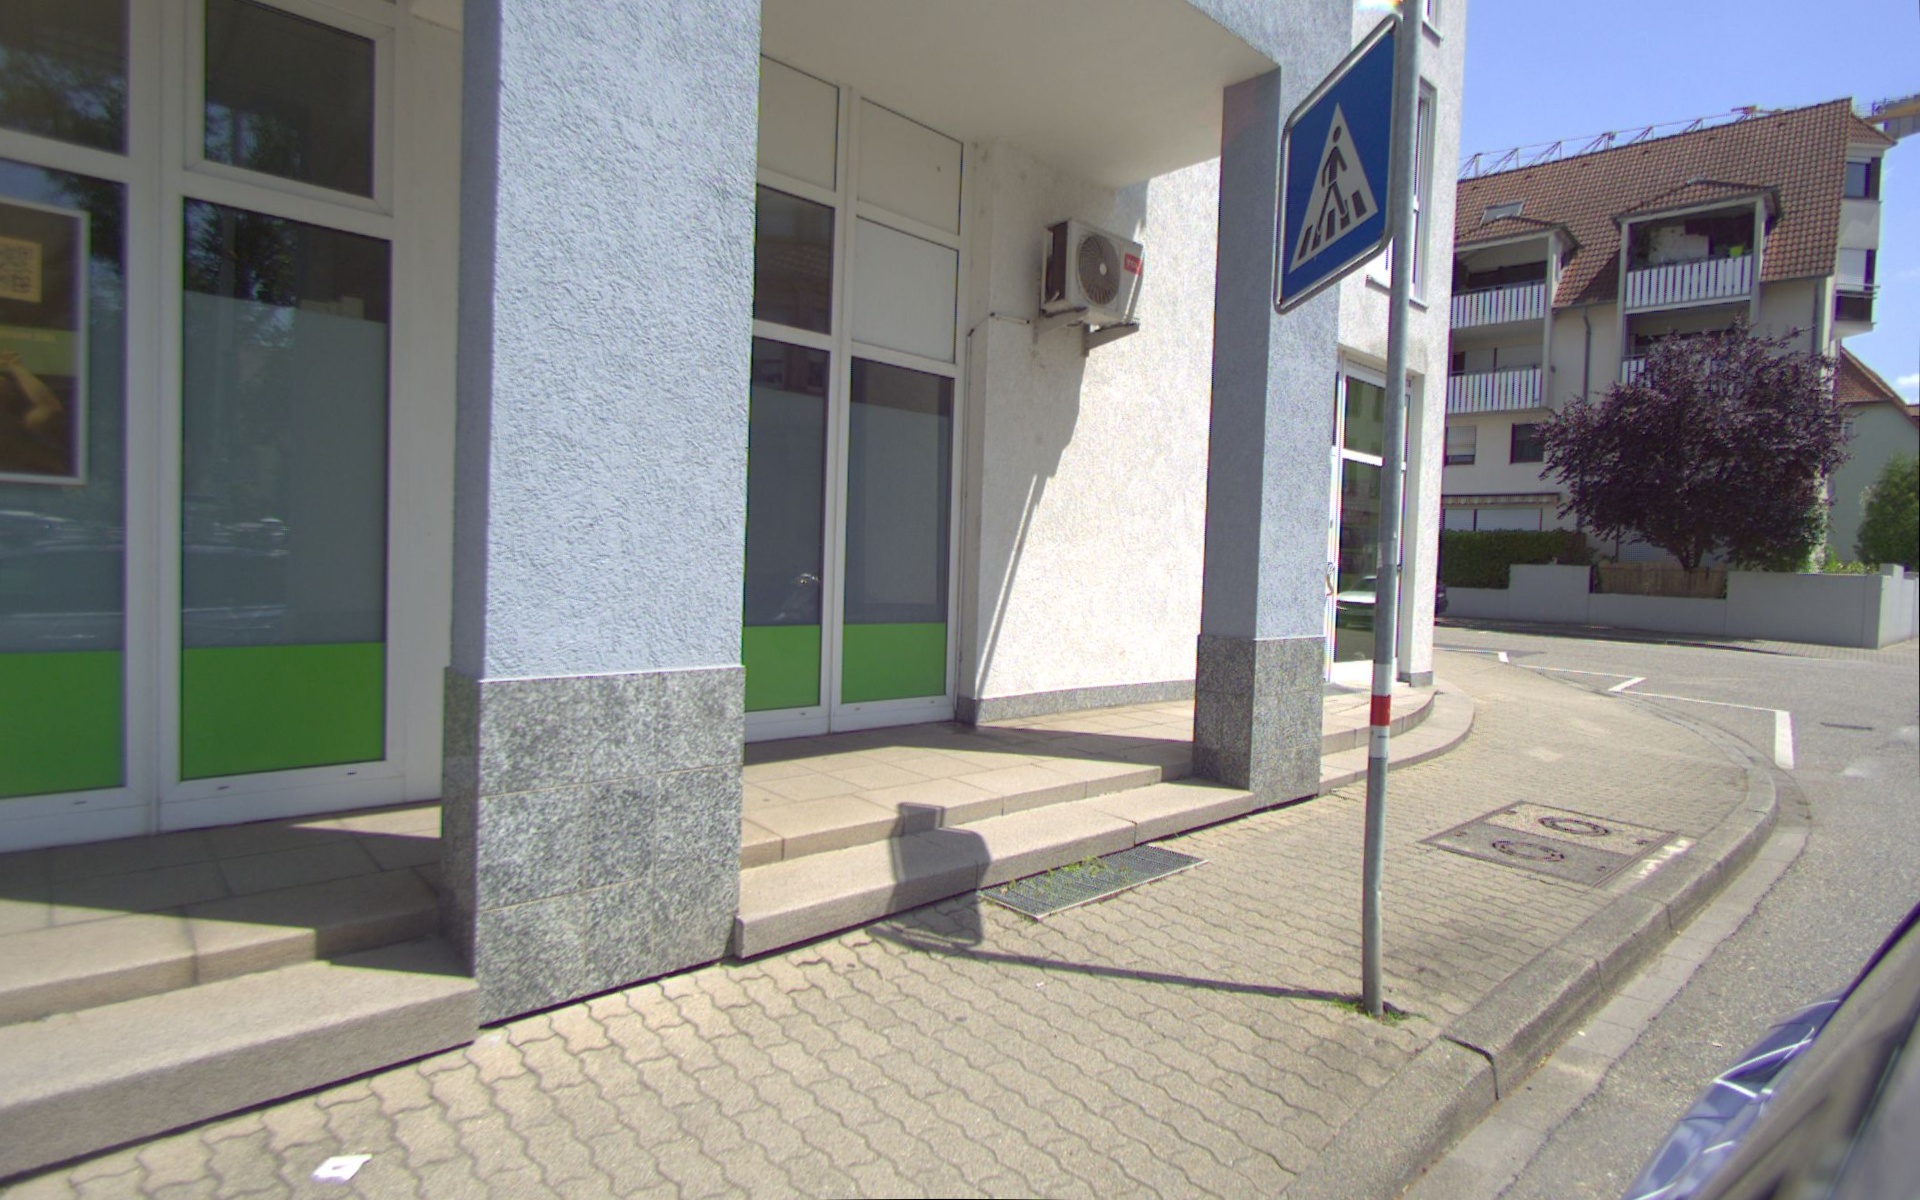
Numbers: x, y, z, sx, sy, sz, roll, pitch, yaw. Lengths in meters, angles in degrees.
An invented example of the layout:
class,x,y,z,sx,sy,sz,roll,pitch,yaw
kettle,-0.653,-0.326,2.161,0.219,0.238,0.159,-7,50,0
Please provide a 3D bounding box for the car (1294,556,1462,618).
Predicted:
class,x,y,z,sx,sy,sz,roll,pitch,yaw
car,11.682,-0.411,28.428,3.988,1.486,1.711,5,4,43
